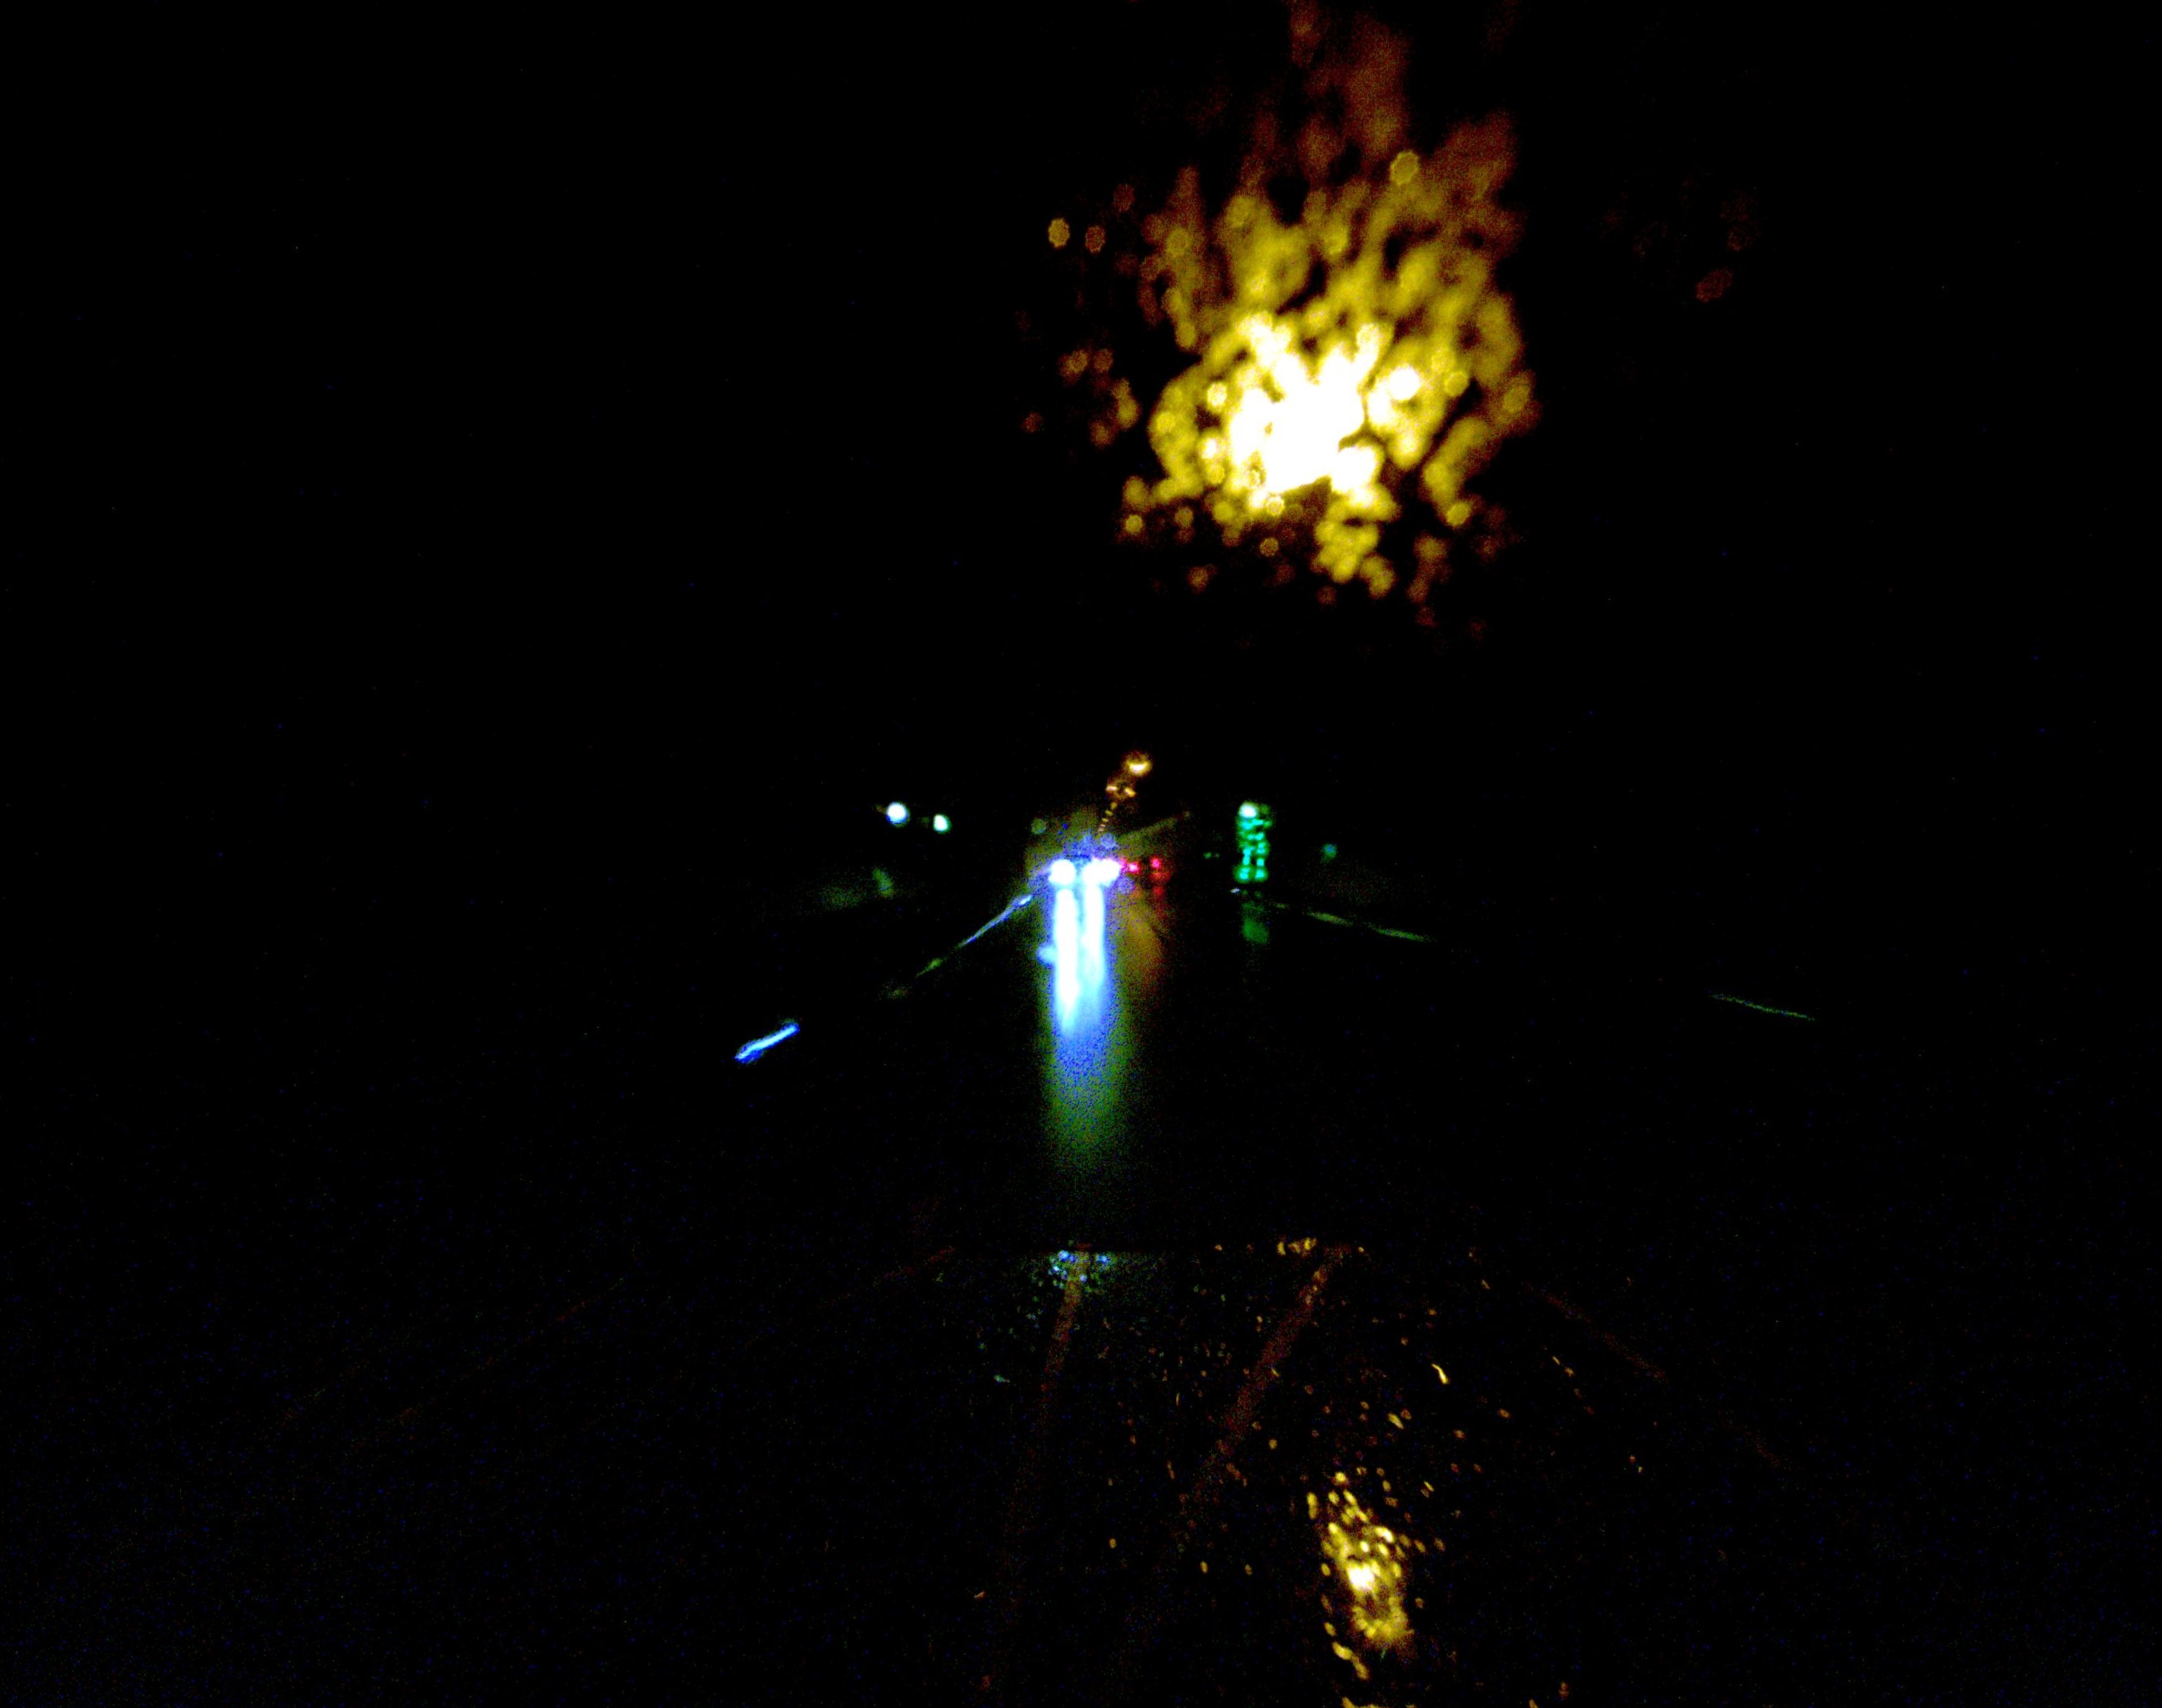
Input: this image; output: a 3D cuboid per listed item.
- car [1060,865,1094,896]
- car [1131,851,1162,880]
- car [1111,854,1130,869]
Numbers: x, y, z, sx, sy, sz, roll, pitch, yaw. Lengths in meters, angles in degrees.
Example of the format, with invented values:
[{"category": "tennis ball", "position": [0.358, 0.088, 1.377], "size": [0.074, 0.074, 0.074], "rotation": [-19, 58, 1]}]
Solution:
[{"category": "car", "position": [-0.183, 1.316, 38.756], "size": [1.627, 1.487, 3.585], "rotation": [-1, 0, 1]}, {"category": "car", "position": [3.685, 0.653, 43.348], "size": [1.524, 1.540, 4.055], "rotation": [-1, -1, 1]}, {"category": "car", "position": [3.982, 0.767, 76.694], "size": [1.753, 1.471, 4.476], "rotation": [-1, 0, 1]}]
